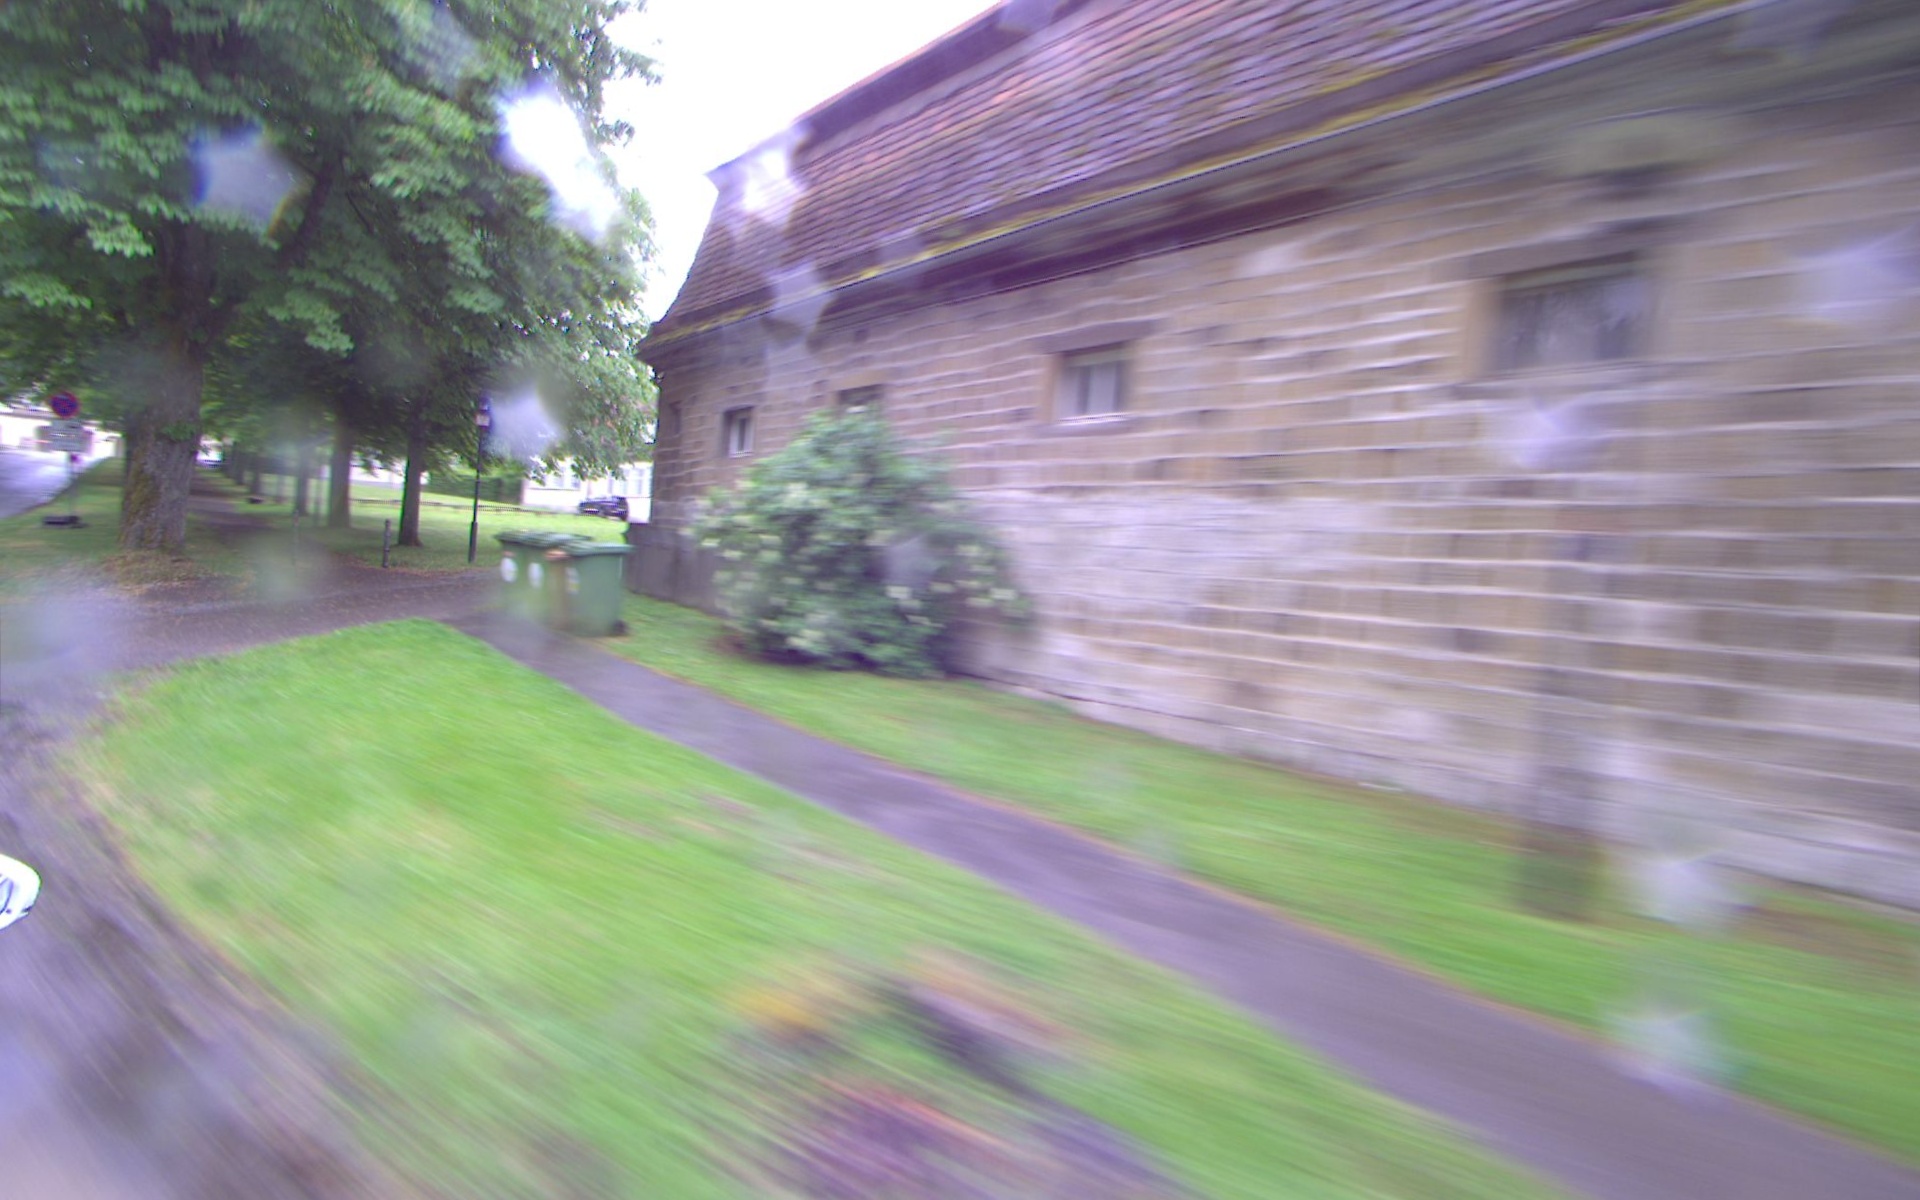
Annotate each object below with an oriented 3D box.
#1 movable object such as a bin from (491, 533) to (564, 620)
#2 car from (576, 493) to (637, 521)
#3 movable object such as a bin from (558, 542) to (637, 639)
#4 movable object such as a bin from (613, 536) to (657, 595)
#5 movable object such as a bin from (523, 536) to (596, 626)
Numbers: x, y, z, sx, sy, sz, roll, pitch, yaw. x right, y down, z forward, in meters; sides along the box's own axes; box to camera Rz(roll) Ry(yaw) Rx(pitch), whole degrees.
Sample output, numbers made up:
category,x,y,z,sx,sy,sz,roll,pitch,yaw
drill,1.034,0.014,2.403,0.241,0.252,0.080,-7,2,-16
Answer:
category,x,y,z,sx,sy,sz,roll,pitch,yaw
movable object such as a bin,-5.553,-0.313,12.922,0.690,1.055,0.653,-3,8,-39
car,-23.372,-6.127,66.382,4.446,1.530,1.985,9,7,43
movable object such as a bin,-4.164,-0.125,11.564,0.690,1.055,0.569,-3,8,-39
movable object such as a bin,-5.371,-0.580,16.621,0.547,0.921,0.528,-3,8,-39
movable object such as a bin,-4.978,-0.251,12.509,0.690,1.055,0.569,-3,8,-39
